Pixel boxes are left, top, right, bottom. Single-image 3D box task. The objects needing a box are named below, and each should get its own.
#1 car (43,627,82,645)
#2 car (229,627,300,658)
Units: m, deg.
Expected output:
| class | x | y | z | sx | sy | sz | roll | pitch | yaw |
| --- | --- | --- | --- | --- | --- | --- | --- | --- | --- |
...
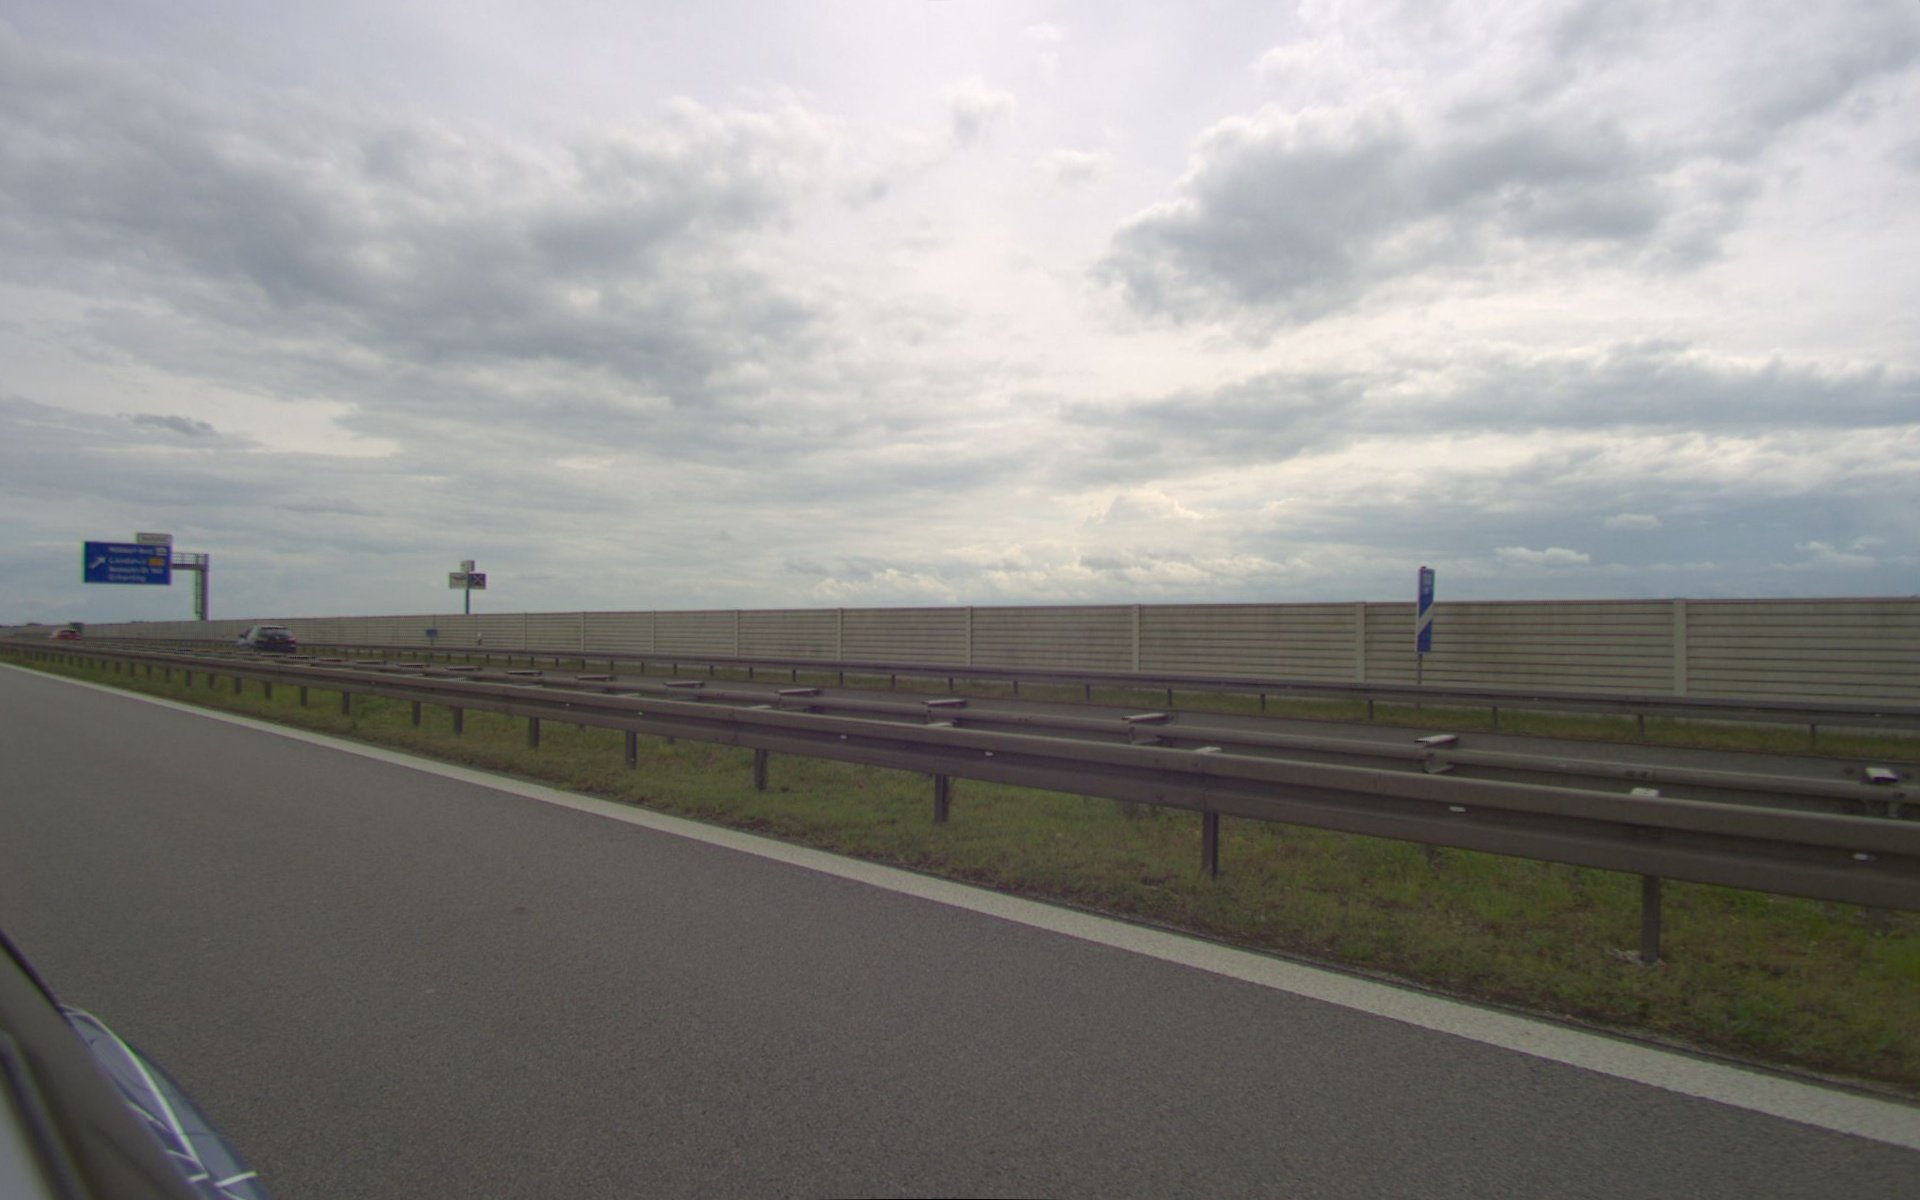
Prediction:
| class | x | y | z | sx | sy | sz | roll | pitch | yaw |
| --- | --- | --- | --- | --- | --- | --- | --- | --- | --- |
| car | -73.597 | 2.961 | 82.984 | 4.874 | 1.414 | 1.798 | -2 | -3 | 42 |
| car | -32.871 | 1.981 | 47.764 | 4.607 | 1.339 | 1.641 | -1 | -6 | 42 |
